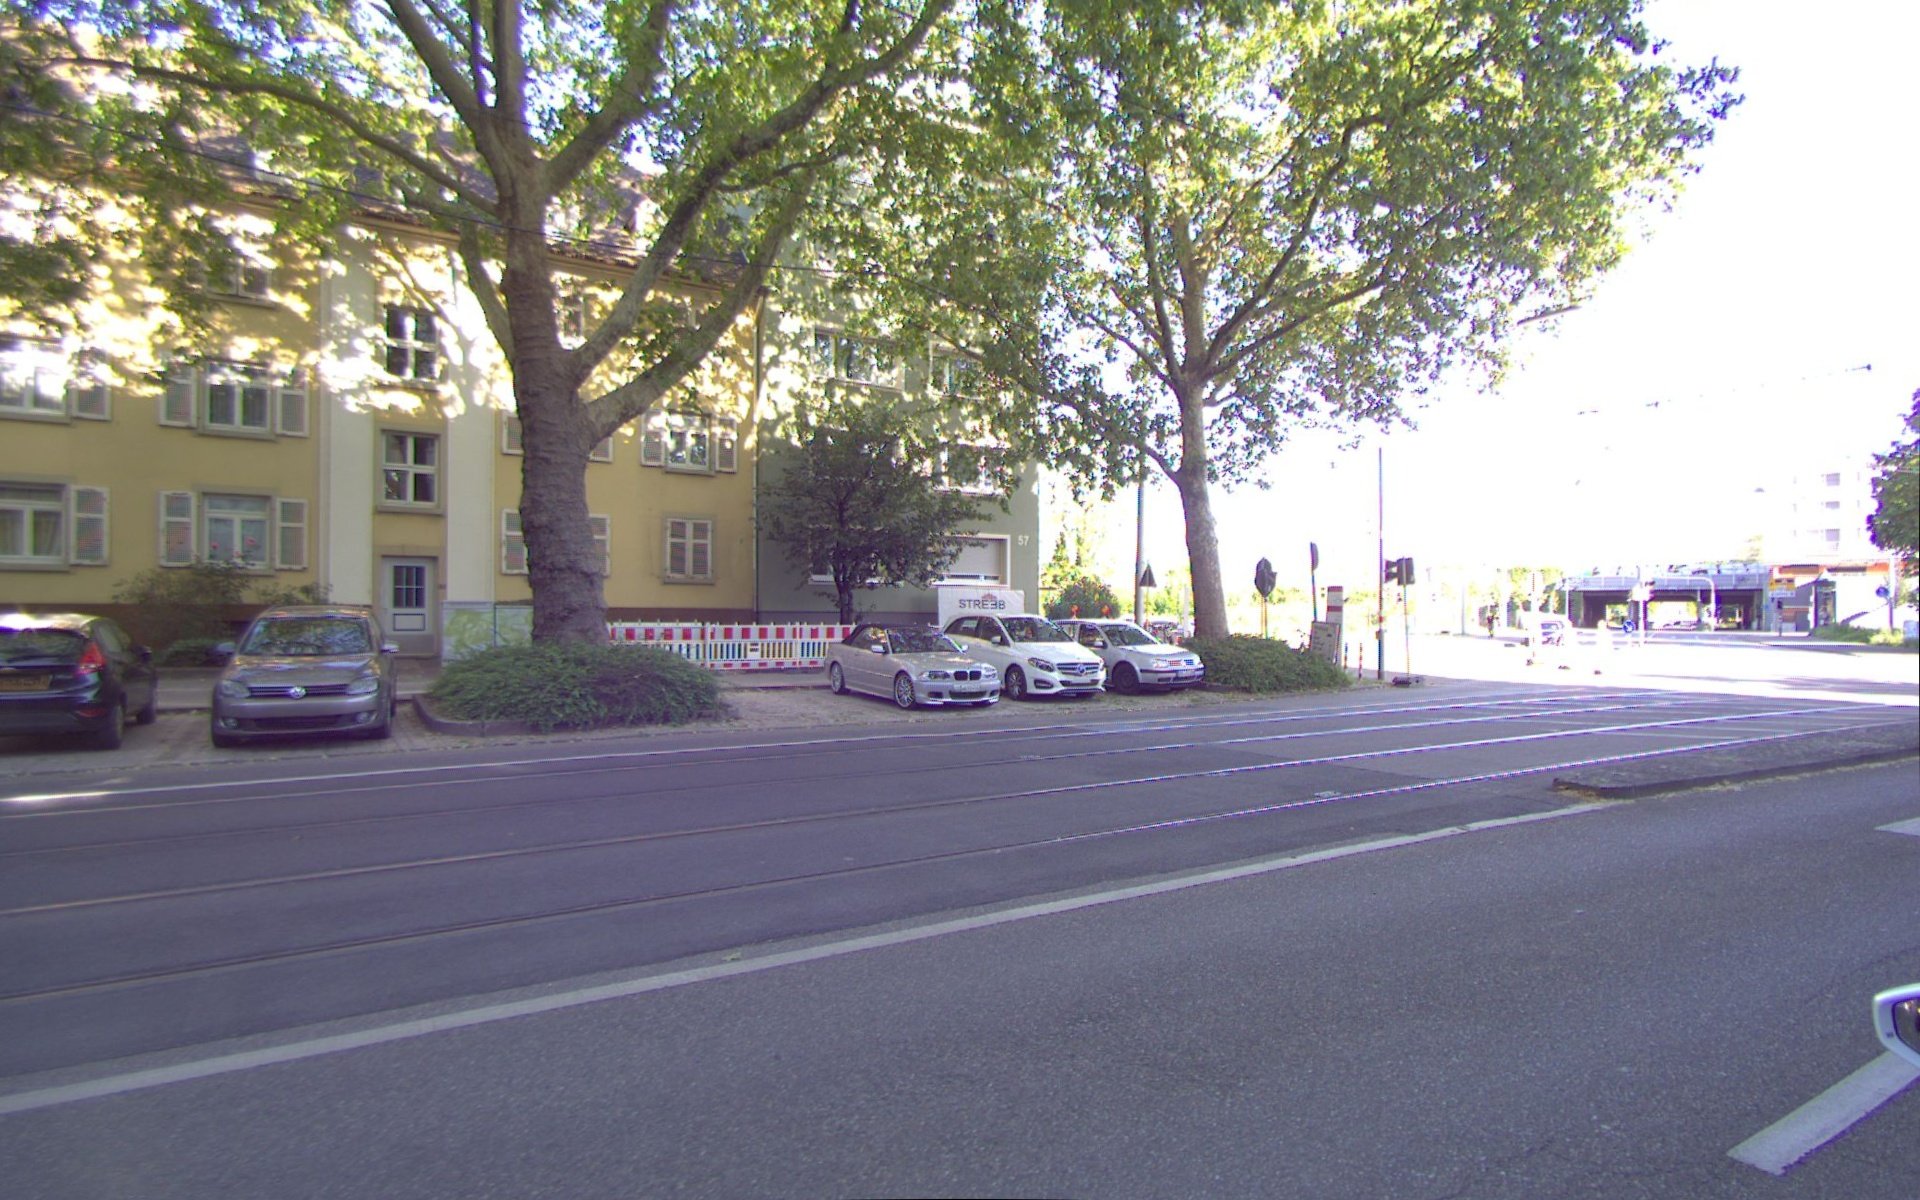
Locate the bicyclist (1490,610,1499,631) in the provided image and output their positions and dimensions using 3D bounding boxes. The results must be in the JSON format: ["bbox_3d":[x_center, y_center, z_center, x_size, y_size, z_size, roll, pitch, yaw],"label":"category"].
[{"bbox_3d":[40.619,1.580,76.300,0.625,1.584,0.832,0,-1,28],"label":"bicyclist"}]

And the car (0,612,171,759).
[{"bbox_3d":[-10.617,0.891,11.766,1.723,1.448,3.545,1,0,-31],"label":"car"}]

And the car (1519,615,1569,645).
[{"bbox_3d":[33.336,1.692,57.280,1.803,1.539,3.876,2,1,40],"label":"car"}]

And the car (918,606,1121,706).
[{"bbox_3d":[1.021,1.003,19.913,1.777,1.640,4.587,1,1,-30],"label":"car"}]

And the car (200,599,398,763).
[{"bbox_3d":[-8.257,0.869,12.887,1.793,1.627,4.169,1,1,-29],"label":"car"}]

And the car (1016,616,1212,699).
[{"bbox_3d":[3.103,1.118,21.252,1.656,1.448,4.490,1,0,-30],"label":"car"}]

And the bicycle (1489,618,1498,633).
[{"bbox_3d":[40.493,1.920,76.280,0.572,1.075,2.039,0,-1,28],"label":"bicycle"}]

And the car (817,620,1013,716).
[{"bbox_3d":[-0.935,1.103,17.875,1.708,1.386,4.220,1,0,-31],"label":"car"}]
